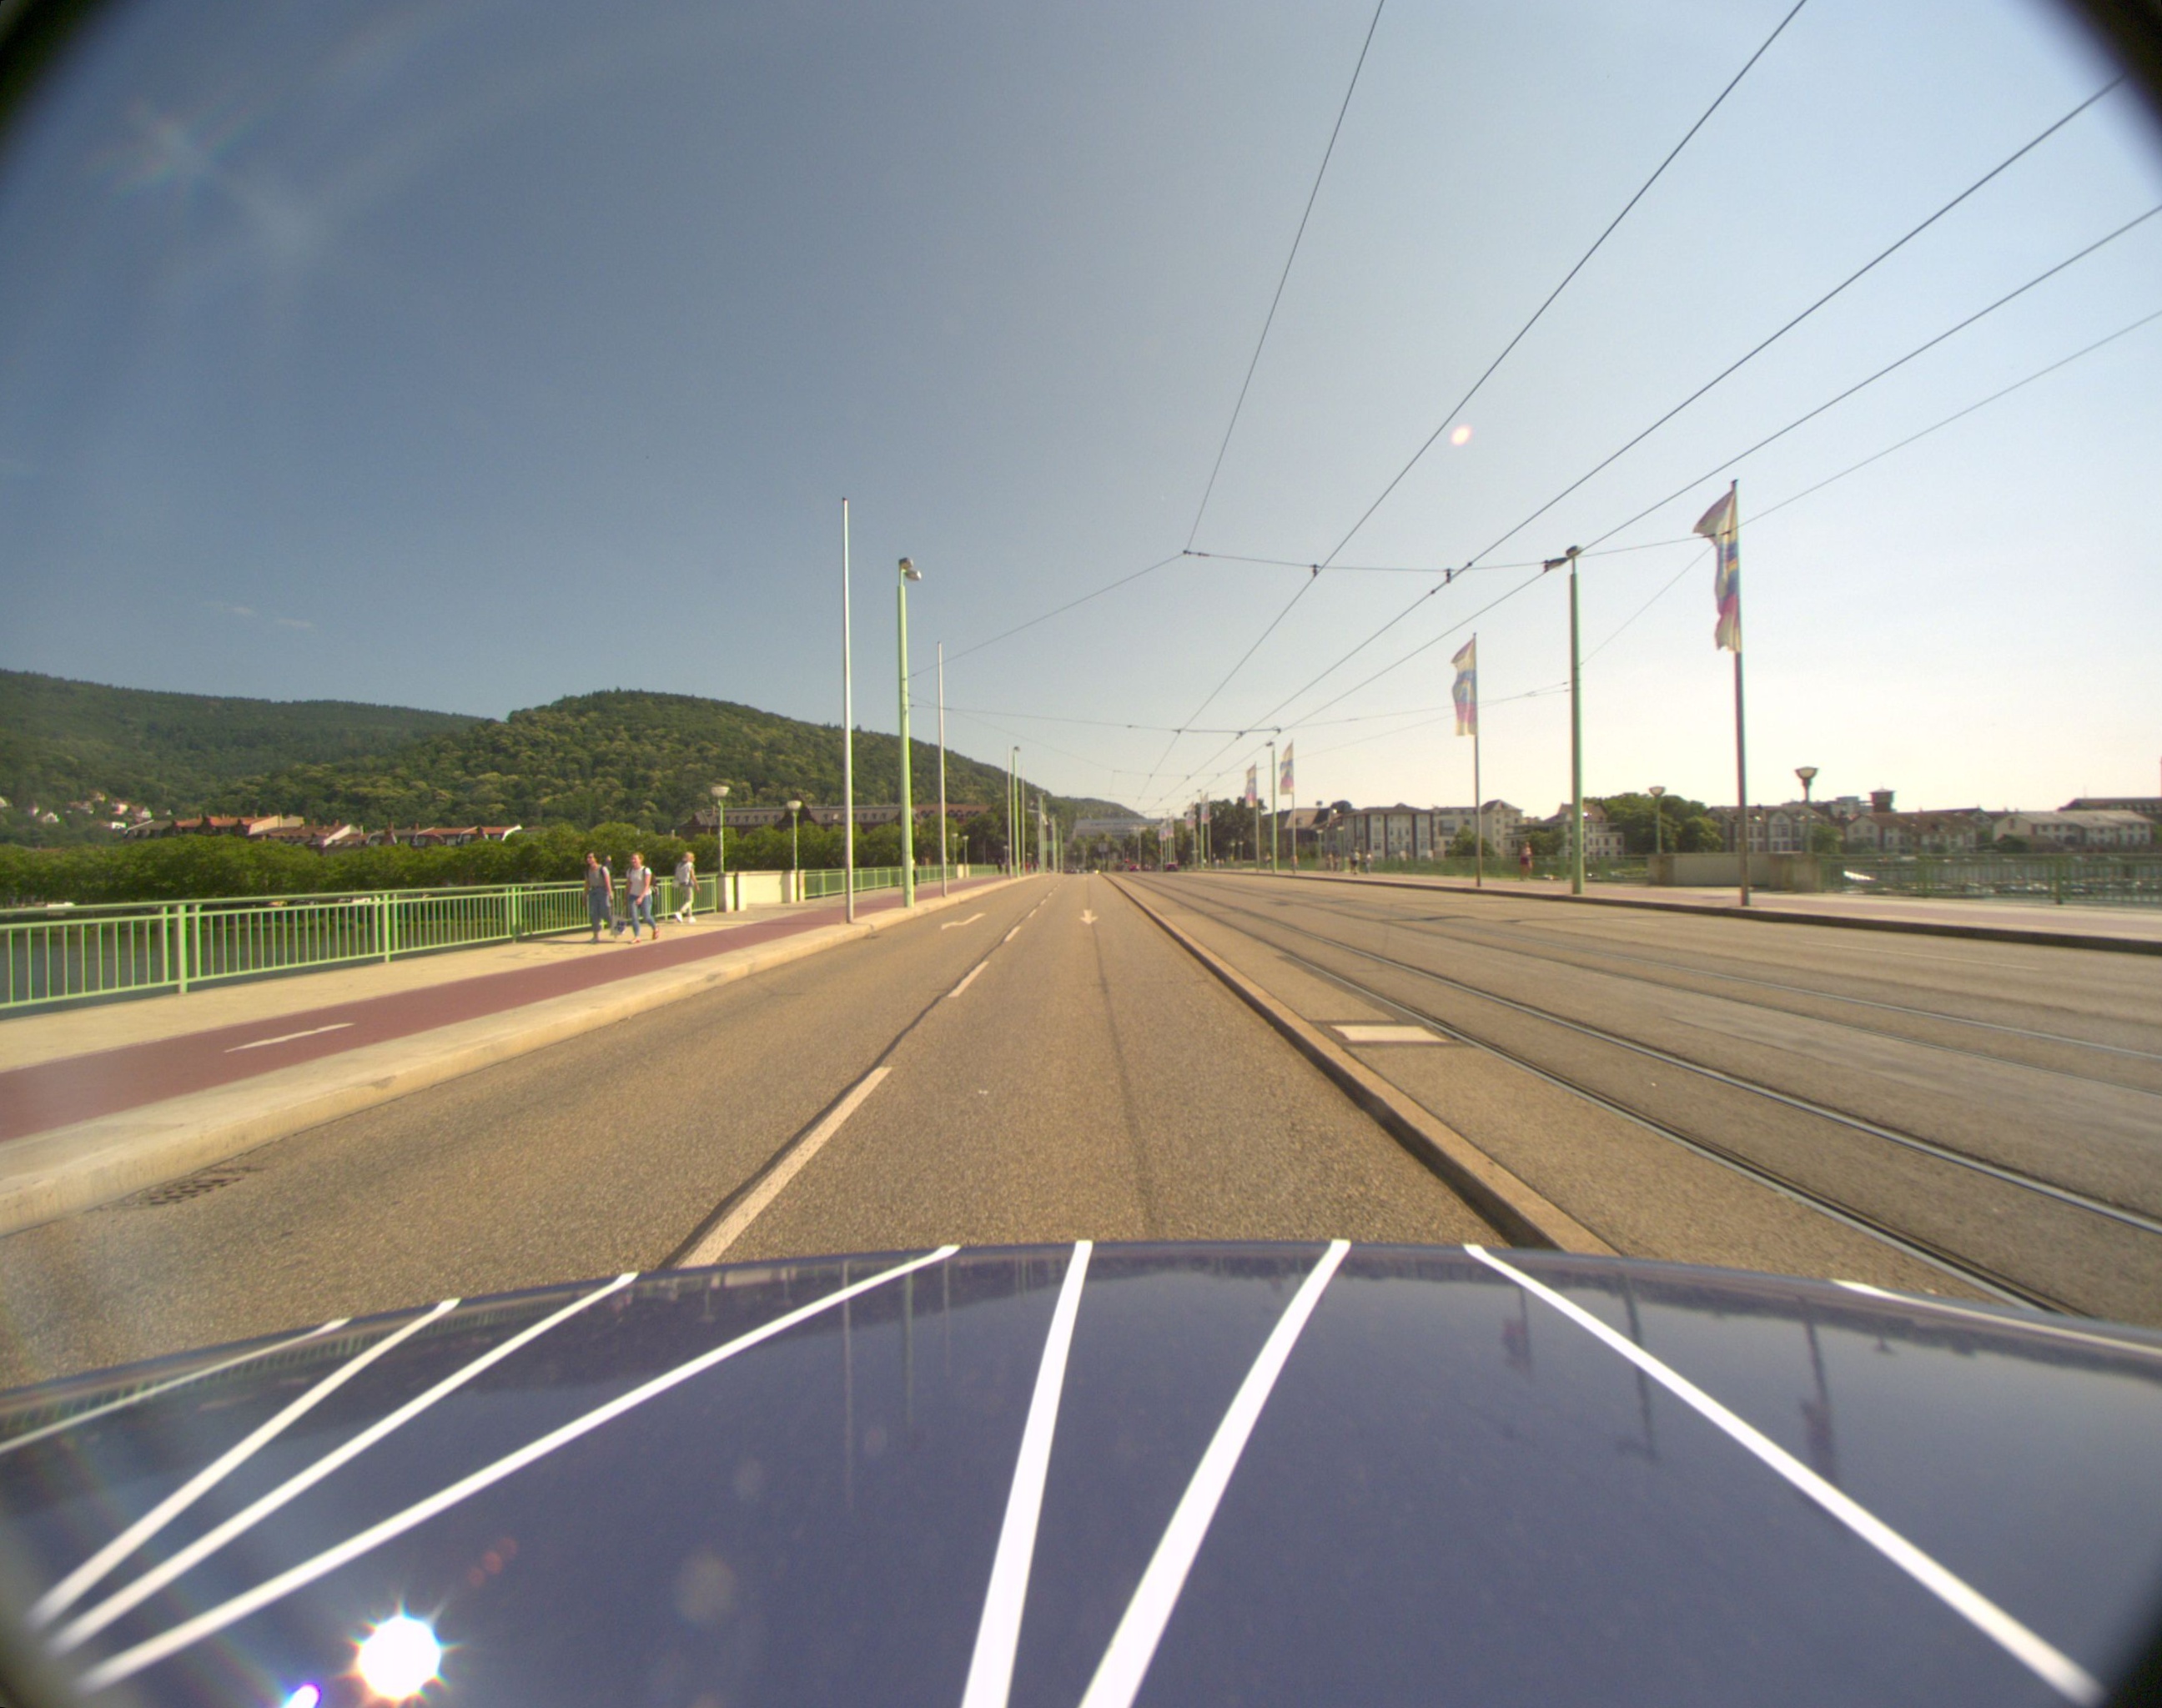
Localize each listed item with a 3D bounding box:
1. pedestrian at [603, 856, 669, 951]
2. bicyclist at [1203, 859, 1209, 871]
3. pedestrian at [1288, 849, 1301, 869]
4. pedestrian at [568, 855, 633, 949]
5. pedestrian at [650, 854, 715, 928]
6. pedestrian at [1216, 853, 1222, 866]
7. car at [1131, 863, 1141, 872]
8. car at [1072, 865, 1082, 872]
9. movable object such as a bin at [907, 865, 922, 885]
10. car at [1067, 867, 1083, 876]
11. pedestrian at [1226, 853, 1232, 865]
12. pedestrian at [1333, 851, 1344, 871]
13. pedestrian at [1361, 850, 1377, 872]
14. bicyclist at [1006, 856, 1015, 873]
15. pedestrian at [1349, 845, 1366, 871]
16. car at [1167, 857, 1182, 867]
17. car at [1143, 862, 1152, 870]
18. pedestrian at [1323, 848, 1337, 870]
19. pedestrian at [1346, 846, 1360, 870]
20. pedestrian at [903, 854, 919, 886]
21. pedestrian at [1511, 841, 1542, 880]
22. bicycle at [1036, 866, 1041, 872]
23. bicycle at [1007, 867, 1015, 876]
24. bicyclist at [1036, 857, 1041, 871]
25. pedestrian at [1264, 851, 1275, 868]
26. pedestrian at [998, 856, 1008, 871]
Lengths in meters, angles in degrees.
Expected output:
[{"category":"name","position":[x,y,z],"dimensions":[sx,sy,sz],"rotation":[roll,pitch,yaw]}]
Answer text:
[{"category":"pedestrian","position":[-7.975,0.861,13.647],"dimensions":[0.664,1.649,0.825],"rotation":[0,1,0]},{"category":"bicyclist","position":[17.710,1.546,107.833],"dimensions":[0.666,1.641,0.622],"rotation":[-1,1,1]},{"category":"pedestrian","position":[18.571,0.397,66.059],"dimensions":[0.787,1.690,1.022],"rotation":[-3,1,0]},{"category":"pedestrian","position":[-8.680,0.851,13.741],"dimensions":[0.669,1.650,0.745],"rotation":[0,1,0]},{"category":"pedestrian","position":[-9.257,0.841,17.686],"dimensions":[0.950,1.653,1.082],"rotation":[0,1,0]},{"category":"pedestrian","position":[19.938,0.797,109.860],"dimensions":[0.592,1.690,1.022],"rotation":[-6,0,0]},{"category":"car","position":[11.279,2.802,156.794],"dimensions":[1.714,1.686,4.000],"rotation":[-5,0,1]},{"category":"car","position":[-0.854,3.454,176.524],"dimensions":[1.998,1.379,4.000],"rotation":[-6,0,1]},{"category":"movable object such as a bin","position":[-9.058,1.140,41.297],"dimensions":[0.583,1.084,0.933],"rotation":[0,0,0]},{"category":"car","position":[-1.516,4.481,195.011],"dimensions":[3.997,2.002,2.000],"rotation":[-6,0,-2]},{"category":"pedestrian","position":[20.860,0.672,107.115],"dimensions":[0.592,1.690,0.905],"rotation":[-6,0,0]},{"category":"pedestrian","position":[19.048,0.496,56.206],"dimensions":[0.547,1.429,0.789],"rotation":[-3,1,0]},{"category":"pedestrian","position":[18.989,0.435,50.161],"dimensions":[0.592,1.406,1.022],"rotation":[-3,0,0]},{"category":"bicyclist","position":[-6.821,0.998,73.908],"dimensions":[0.731,1.655,0.844],"rotation":[-1,0,1]},{"category":"pedestrian","position":[18.365,0.281,50.404],"dimensions":[0.671,1.690,1.022],"rotation":[-3,1,0]},{"category":"car","position":[14.277,1.254,116.171],"dimensions":[1.721,1.446,3.901],"rotation":[0,0,0]},{"category":"car","position":[14.234,2.576,162.163],"dimensions":[1.672,1.428,4.000],"rotation":[-1,1,1]},{"category":"pedestrian","position":[18.402,0.369,56.229],"dimensions":[0.627,1.590,1.022],"rotation":[-3,1,0]},{"category":"pedestrian","position":[19.818,0.270,55.331],"dimensions":[0.592,1.690,1.022],"rotation":[-3,1,0]},{"category":"pedestrian","position":[-9.045,0.854,40.455],"dimensions":[0.664,1.696,0.859],"rotation":[0,1,0]},{"category":"pedestrian","position":[19.547,0.285,33.336],"dimensions":[0.686,1.680,1.022],"rotation":[-3,1,0]},{"category":"bicycle","position":[-5.516,1.968,98.321],"dimensions":[0.595,0.761,1.866],"rotation":[0,0,1]},{"category":"bicycle","position":[-6.788,1.684,73.969],"dimensions":[0.595,0.761,1.866],"rotation":[0,0,1]},{"category":"bicyclist","position":[-5.516,1.280,98.298],"dimensions":[0.587,1.759,0.672],"rotation":[0,1,1]},{"category":"pedestrian","position":[19.341,0.561,78.002],"dimensions":[0.787,1.690,1.022],"rotation":[-3,1,0]},{"category":"pedestrian","position":[-8.787,1.031,85.295],"dimensions":[0.950,1.653,1.082],"rotation":[1,0,0]}]
